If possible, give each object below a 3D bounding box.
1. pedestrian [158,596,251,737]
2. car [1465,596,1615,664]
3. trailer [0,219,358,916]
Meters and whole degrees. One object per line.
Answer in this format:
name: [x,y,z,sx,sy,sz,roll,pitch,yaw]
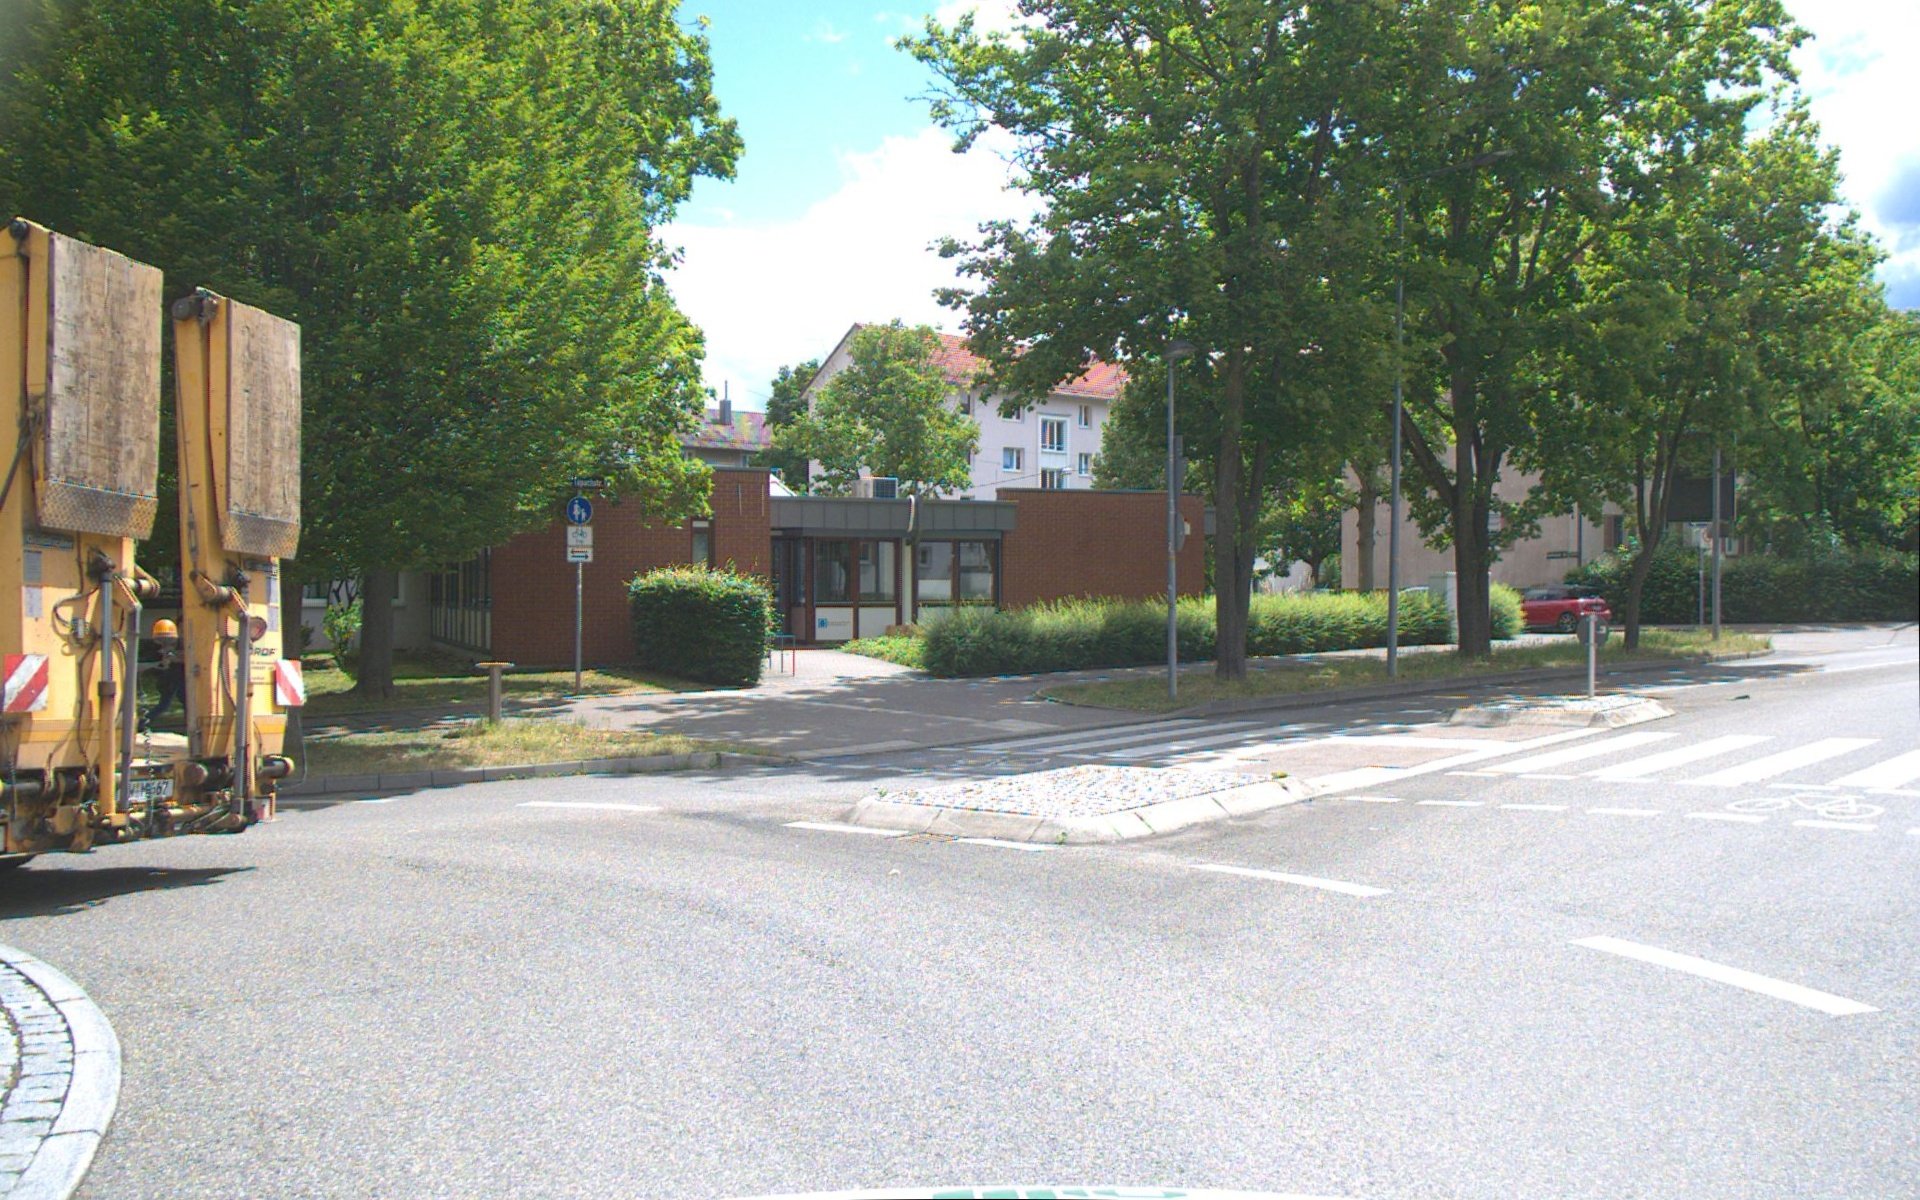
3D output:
pedestrian: [-9.090,0.781,19.905,0.831,1.606,0.712,-4,2,-34]
car: [17.961,0.893,51.344,1.998,1.975,3.945,1,0,-39]
trailer: [-9.486,-0.312,10.666,10.575,3.431,2.876,2,1,12]
